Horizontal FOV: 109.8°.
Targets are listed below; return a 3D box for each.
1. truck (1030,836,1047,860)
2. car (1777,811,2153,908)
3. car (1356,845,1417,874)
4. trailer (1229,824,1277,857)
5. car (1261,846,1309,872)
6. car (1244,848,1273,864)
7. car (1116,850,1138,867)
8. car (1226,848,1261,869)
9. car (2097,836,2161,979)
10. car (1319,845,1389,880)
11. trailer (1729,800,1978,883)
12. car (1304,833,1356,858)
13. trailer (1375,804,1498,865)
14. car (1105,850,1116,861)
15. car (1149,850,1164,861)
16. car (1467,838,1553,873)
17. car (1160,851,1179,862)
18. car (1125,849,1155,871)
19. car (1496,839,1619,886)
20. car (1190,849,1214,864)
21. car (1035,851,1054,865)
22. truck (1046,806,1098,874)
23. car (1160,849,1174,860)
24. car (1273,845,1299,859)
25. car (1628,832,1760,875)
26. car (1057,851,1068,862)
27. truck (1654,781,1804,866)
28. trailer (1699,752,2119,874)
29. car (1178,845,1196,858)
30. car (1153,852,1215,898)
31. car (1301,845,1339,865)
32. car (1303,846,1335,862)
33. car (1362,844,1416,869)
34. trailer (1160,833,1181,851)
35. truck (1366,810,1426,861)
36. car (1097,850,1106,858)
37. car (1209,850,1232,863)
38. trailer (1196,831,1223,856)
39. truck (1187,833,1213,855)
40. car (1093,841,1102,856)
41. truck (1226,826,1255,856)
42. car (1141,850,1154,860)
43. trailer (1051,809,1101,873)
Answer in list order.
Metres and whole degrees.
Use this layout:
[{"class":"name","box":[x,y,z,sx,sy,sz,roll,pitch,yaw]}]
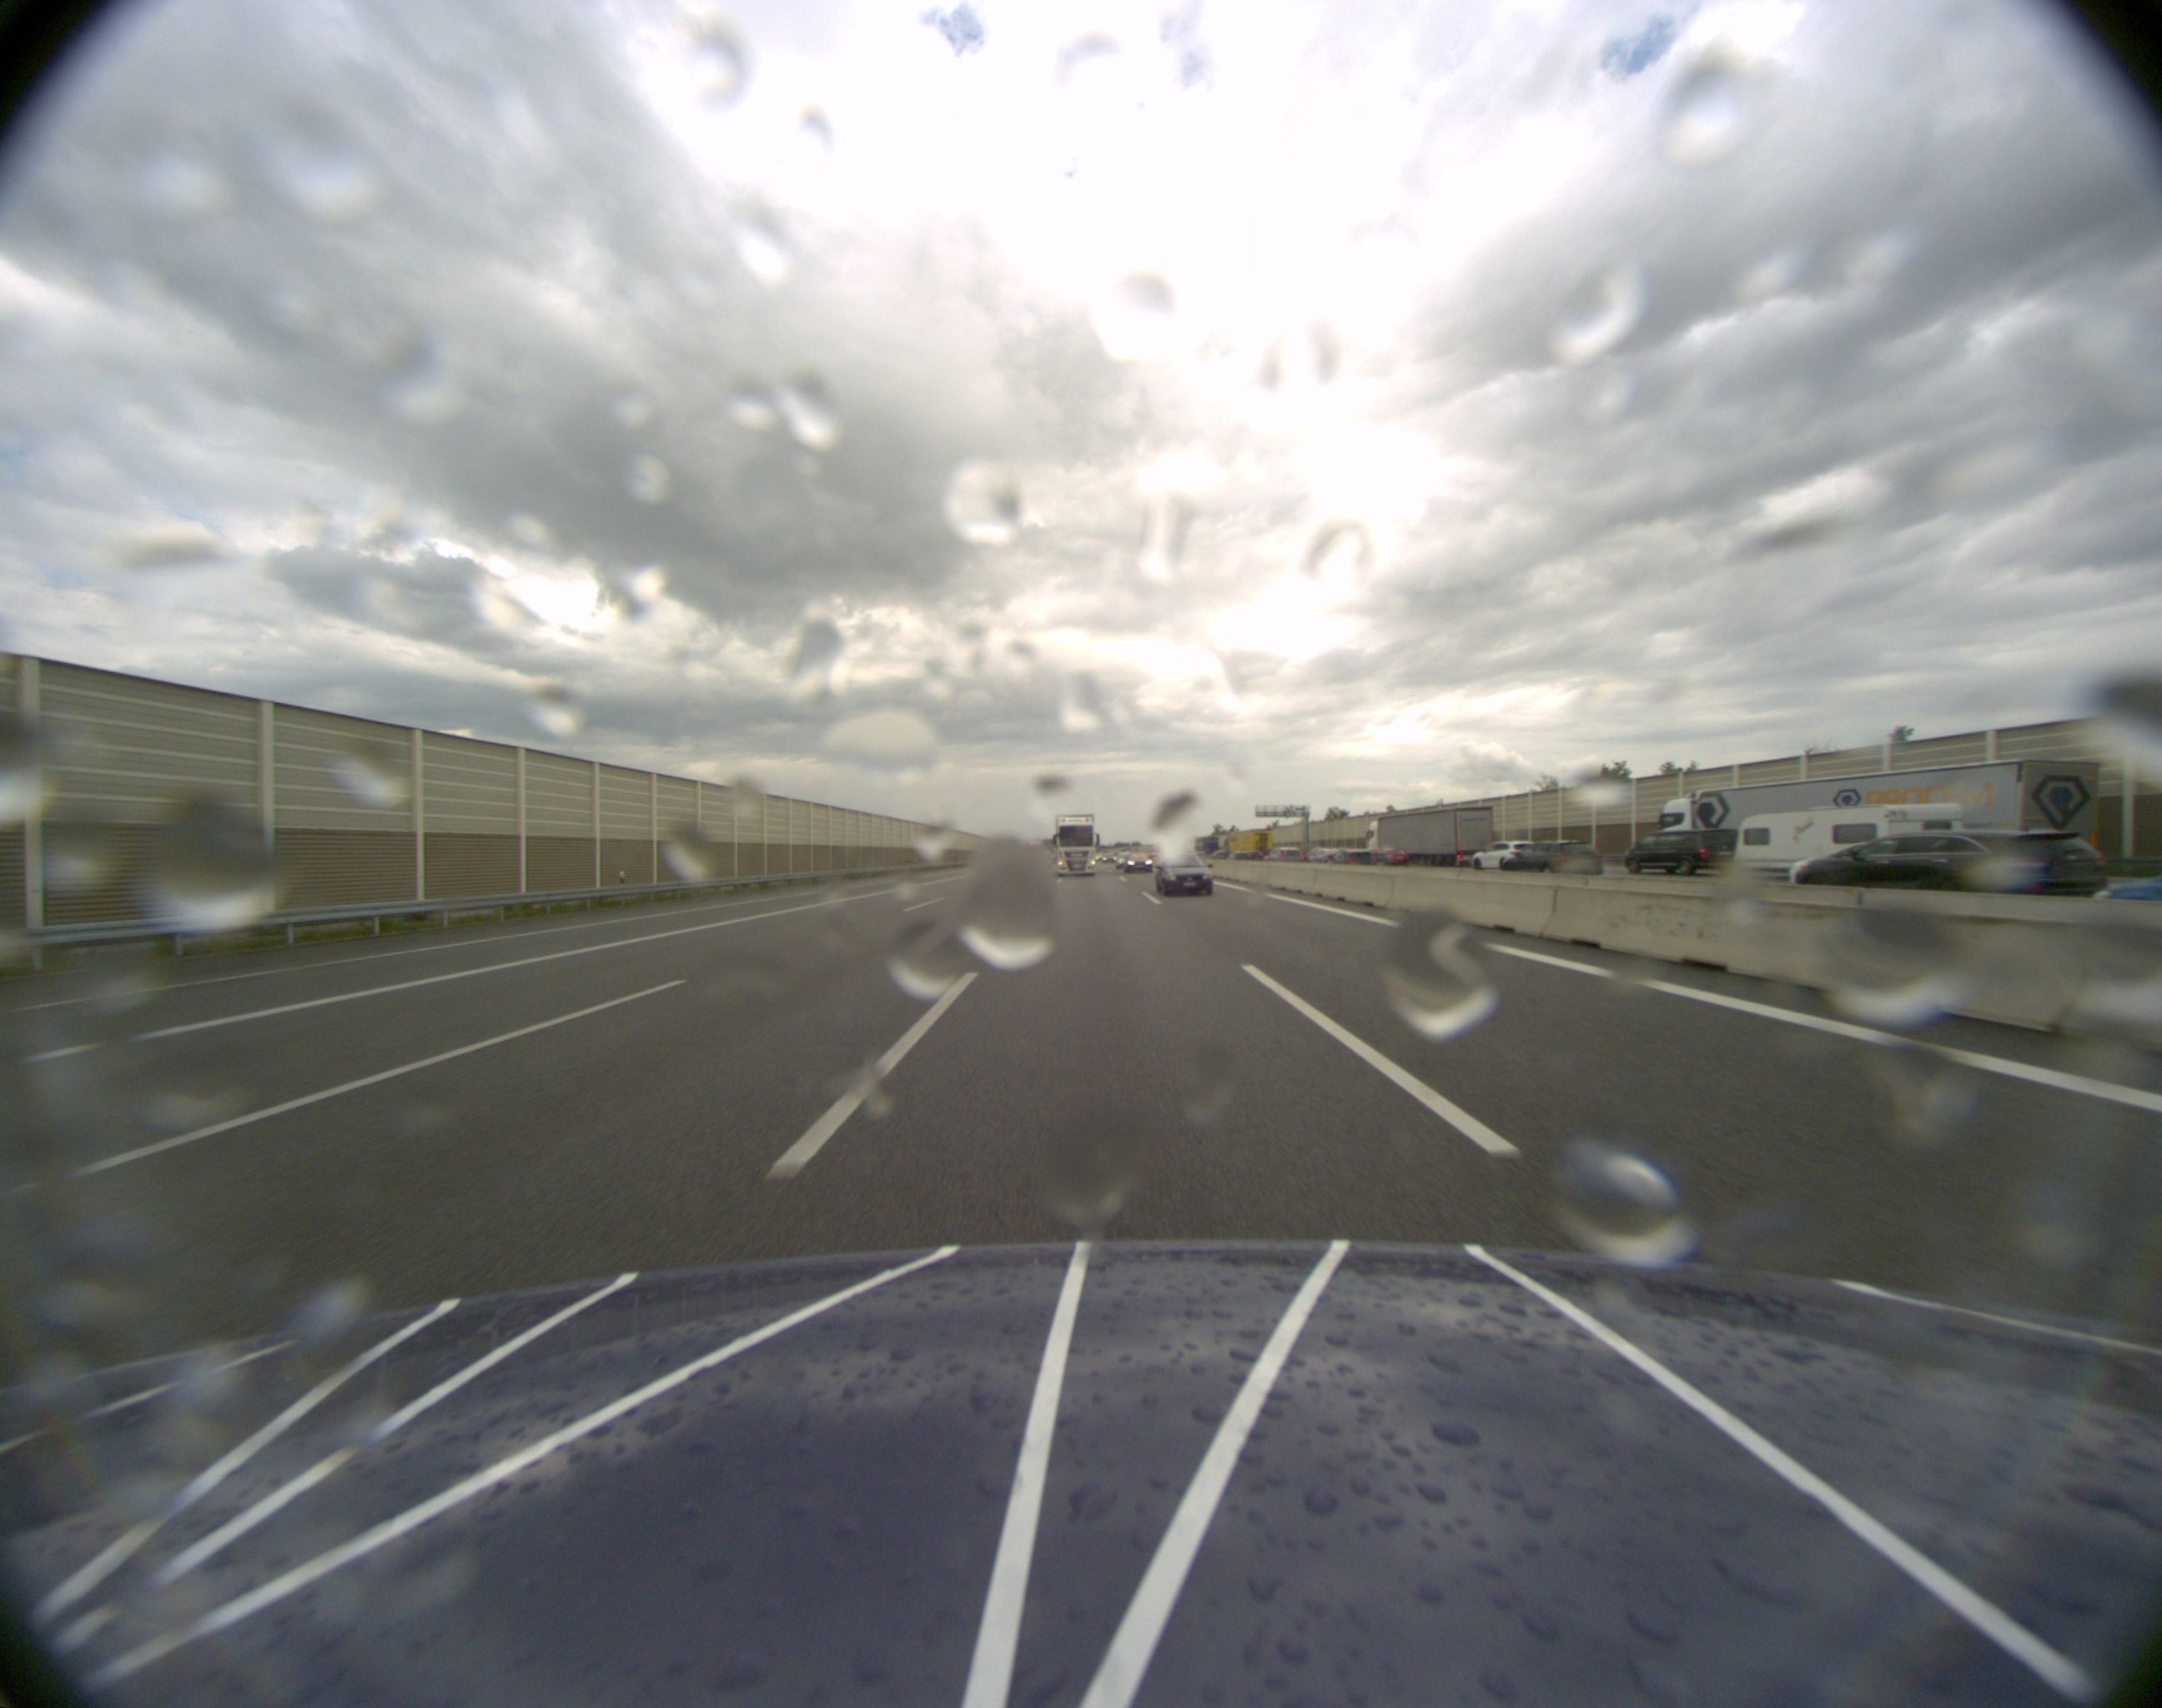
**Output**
[{"class":"truck","box":[-7.669,-1.092,137.636,2.599,4.088,11.369,-2,1,-1]},{"class":"car","box":[18.143,0.088,16.134,2.066,1.690,5.088,-1,0,0]},{"class":"car","box":[19.285,0.324,48.172,1.960,1.690,4.410,-1,0,-1]},{"class":"trailer","box":[22.399,-1.678,99.999,2.768,4.008,14.450,-2,1,0]},{"class":"car","box":[14.280,0.332,53.429,1.960,1.690,4.892,-1,0,-1]},{"class":"car","box":[19.459,0.248,83.540,2.066,1.690,4.410,-1,0,-1]},{"class":"car","box":[4.080,0.358,67.764,1.732,1.395,4.000,-1,1,1]},{"class":"car","box":[14.820,0.353,69.585,2.066,1.805,4.777,-1,0,-1]},{"class":"car","box":[13.743,0.616,7.464,1.878,1.690,4.221,-1,0,0]},{"class":"car","box":[14.130,0.432,39.591,1.960,1.690,4.410,-1,0,-1]},{"class":"trailer","box":[26.206,-0.392,26.275,2.465,2.481,6.085,-1,0,1]},{"class":"car","box":[18.620,-0.609,57.095,2.066,1.805,5.113,-1,0,-1]},{"class":"trailer","box":[26.521,-1.346,57.931,2.768,4.008,14.452,-1,1,1]},{"class":"car","box":[4.103,0.163,106.281,1.498,1.395,4.000,-1,1,1]},{"class":"car","box":[14.242,0.235,143.499,2.066,1.991,5.806,-1,0,-1]},{"class":"car","box":[22.362,0.071,39.814,1.960,1.690,4.410,-1,0,-1]},{"class":"car","box":[13.653,0.376,117.869,2.066,1.745,5.806,-1,0,-1]},{"class":"car","box":[4.182,0.396,54.420,1.776,1.451,4.480,-1,1,1]},{"class":"car","box":[18.541,0.304,29.852,1.960,1.690,4.410,-1,0,-1]},{"class":"car","box":[14.560,0.268,91.307,2.066,1.690,4.410,-1,0,-1]},{"class":"car","box":[-3.853,0.418,81.026,1.698,1.395,4.000,-1,1,1]},{"class":"truck","box":[-0.493,-0.886,50.377,2.912,4.146,5.193,-3,1,3]},{"class":"car","box":[17.338,0.102,153.440,2.066,1.991,5.807,-1,0,0]},{"class":"car","box":[26.784,-0.273,99.215,2.066,1.690,4.410,-1,0,-1]},{"class":"car","box":[26.206,-0.016,32.713,1.960,1.690,4.660,-1,0,1]},{"class":"car","box":[-2.654,0.359,110.923,1.498,1.395,4.000,-1,1,1]},{"class":"truck","box":[33.416,-1.493,39.502,2.924,4.011,5.725,-1,1,0]},{"class":"trailer","box":[33.358,-1.424,32.377,2.943,4.008,13.859,-1,1,1]},{"class":"car","box":[18.175,-0.417,130.586,2.066,1.991,5.806,-1,0,-1]},{"class":"car","box":[3.460,0.665,26.001,1.578,1.395,4.000,-1,1,0]},{"class":"car","box":[22.398,0.086,71.273,2.066,1.690,4.410,-1,0,-1]},{"class":"car","box":[26.527,-0.040,84.715,2.066,1.690,4.410,-1,0,-1]},{"class":"car","box":[21.798,0.159,53.943,1.960,1.690,4.410,-1,0,-1]},{"class":"trailer","box":[21.270,-2.725,180.837,3.066,4.136,14.314,-1,0,0]},{"class":"truck","box":[26.616,-1.526,64.456,2.751,4.011,5.725,-1,1,1]},{"class":"car","box":[3.621,-0.003,135.189,1.498,1.395,4.000,-1,1,1]},{"class":"car","box":[18.531,0.324,101.207,2.066,1.690,4.410,-1,0,-1]},{"class":"trailer","box":[21.966,-1.738,130.376,2.938,3.916,10.119,-1,0,0]},{"class":"truck","box":[21.981,-1.769,140.989,2.945,3.922,11.066,-1,0,0]},{"class":"car","box":[3.515,-1.190,158.496,1.644,3.041,4.589,-1,1,3]},{"class":"truck","box":[22.345,-1.749,106.875,2.752,4.011,5.725,-2,1,-1]},{"class":"car","box":[13.808,0.233,158.419,2.066,1.991,5.807,-1,0,0]},{"class":"trailer","box":[-0.179,-0.912,57.814,2.925,4.188,13.197,-2,0,2]}]
